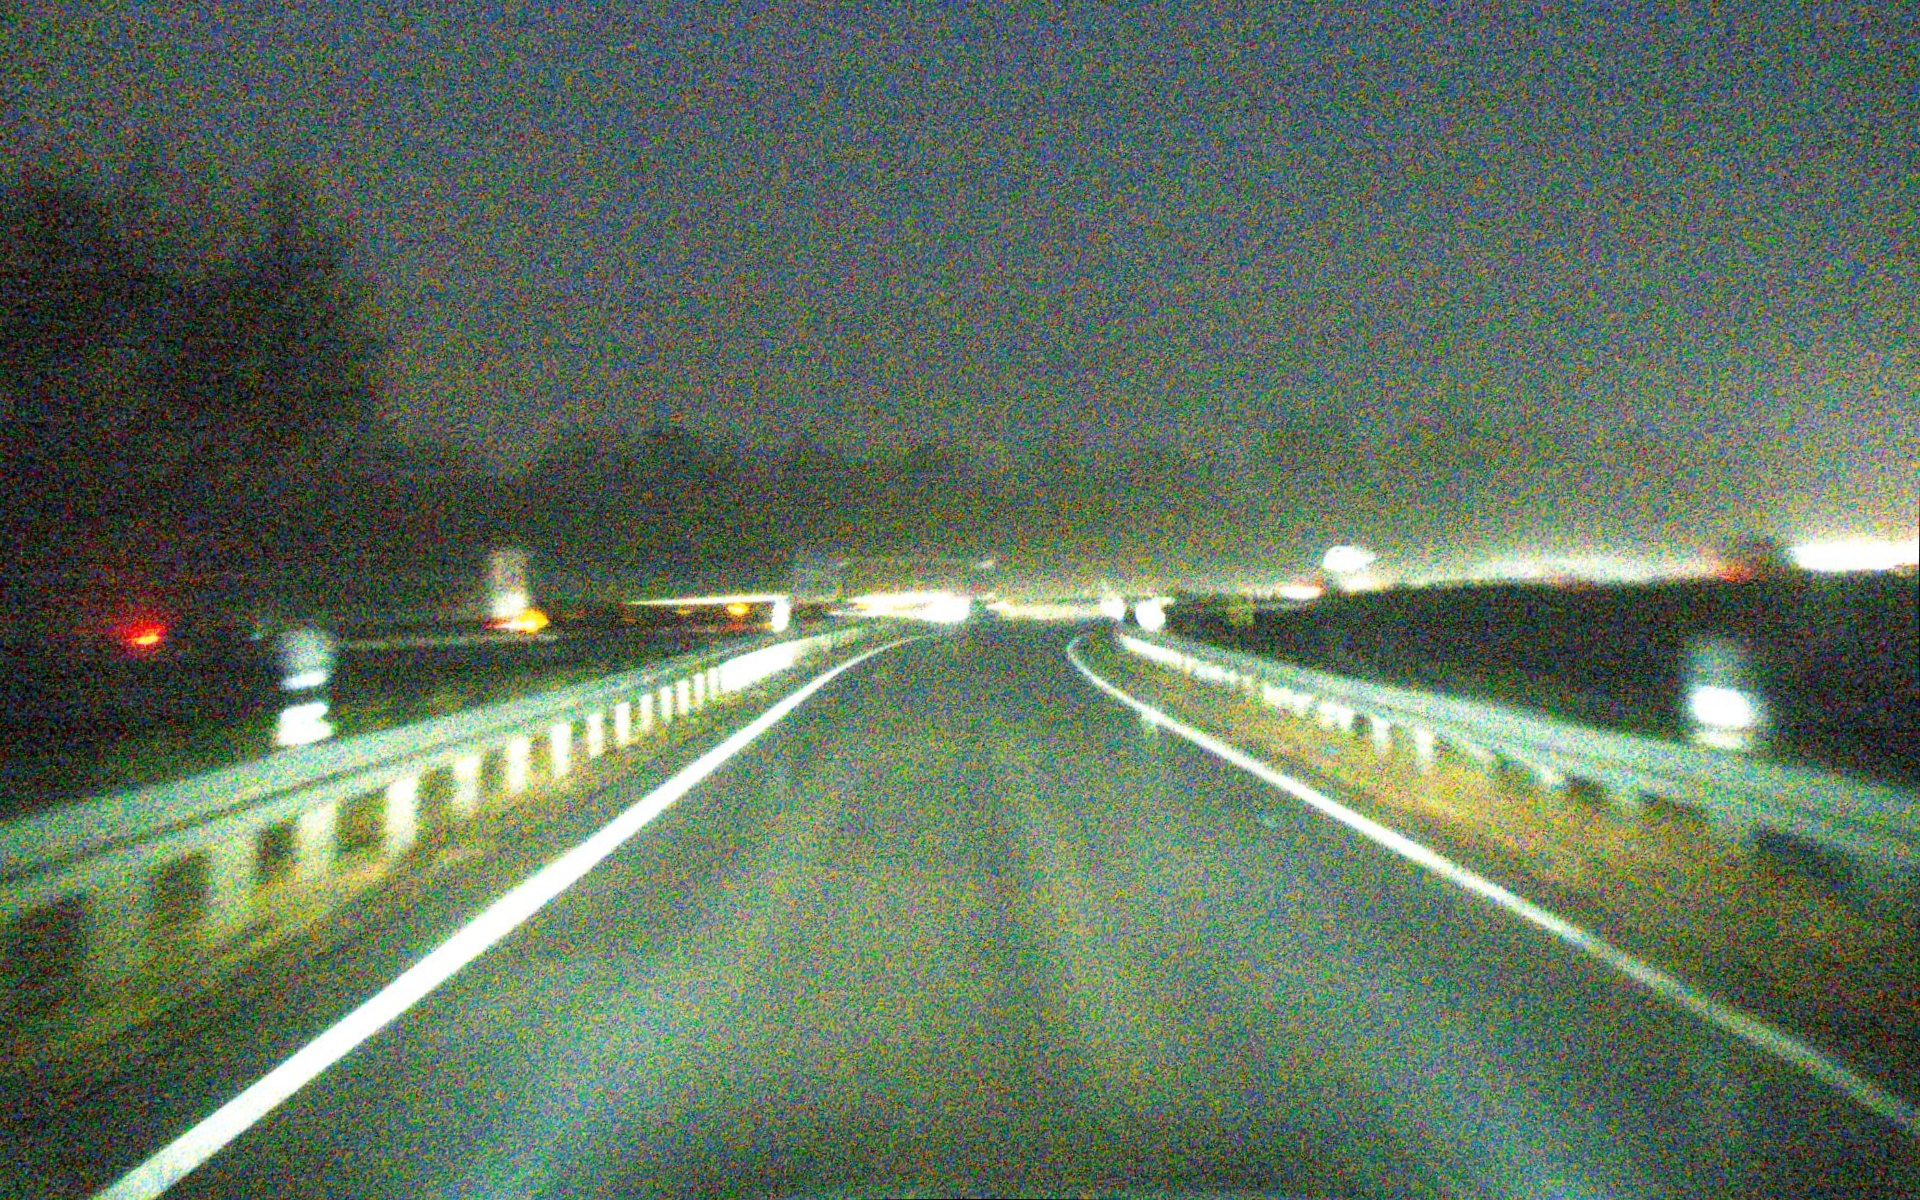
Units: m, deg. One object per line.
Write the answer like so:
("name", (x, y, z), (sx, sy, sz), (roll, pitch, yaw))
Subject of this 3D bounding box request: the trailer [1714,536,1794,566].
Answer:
("trailer", (75.293, -4.648, 156.677), (12.758, 2.746, 2.653), (-2, 2, -44))

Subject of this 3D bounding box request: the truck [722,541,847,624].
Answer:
("truck", (-8.274, -0.896, 78.238), (5.411, 3.776, 2.557), (-2, 2, -42))

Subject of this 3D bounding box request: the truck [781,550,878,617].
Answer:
("truck", (-8.305, -1.105, 105.623), (5.700, 4.099, 2.737), (-2, 2, -42))

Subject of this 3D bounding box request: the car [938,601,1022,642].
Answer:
("car", (1.014, 1.043, 82.132), (3.970, 1.850, 1.968), (-2, 2, -44))

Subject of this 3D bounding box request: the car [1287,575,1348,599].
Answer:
("car", (23.520, -0.873, 108.836), (3.965, 1.545, 1.970), (-1, 2, -42))

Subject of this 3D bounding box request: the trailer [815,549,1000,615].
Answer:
("trailer", (-3.274, -1.272, 110.205), (13.896, 4.099, 2.737), (-2, 2, -42))

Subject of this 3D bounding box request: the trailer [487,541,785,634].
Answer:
("trailer", (-13.995, -0.692, 73.110), (13.534, 3.790, 2.561), (-2, 2, -42))
